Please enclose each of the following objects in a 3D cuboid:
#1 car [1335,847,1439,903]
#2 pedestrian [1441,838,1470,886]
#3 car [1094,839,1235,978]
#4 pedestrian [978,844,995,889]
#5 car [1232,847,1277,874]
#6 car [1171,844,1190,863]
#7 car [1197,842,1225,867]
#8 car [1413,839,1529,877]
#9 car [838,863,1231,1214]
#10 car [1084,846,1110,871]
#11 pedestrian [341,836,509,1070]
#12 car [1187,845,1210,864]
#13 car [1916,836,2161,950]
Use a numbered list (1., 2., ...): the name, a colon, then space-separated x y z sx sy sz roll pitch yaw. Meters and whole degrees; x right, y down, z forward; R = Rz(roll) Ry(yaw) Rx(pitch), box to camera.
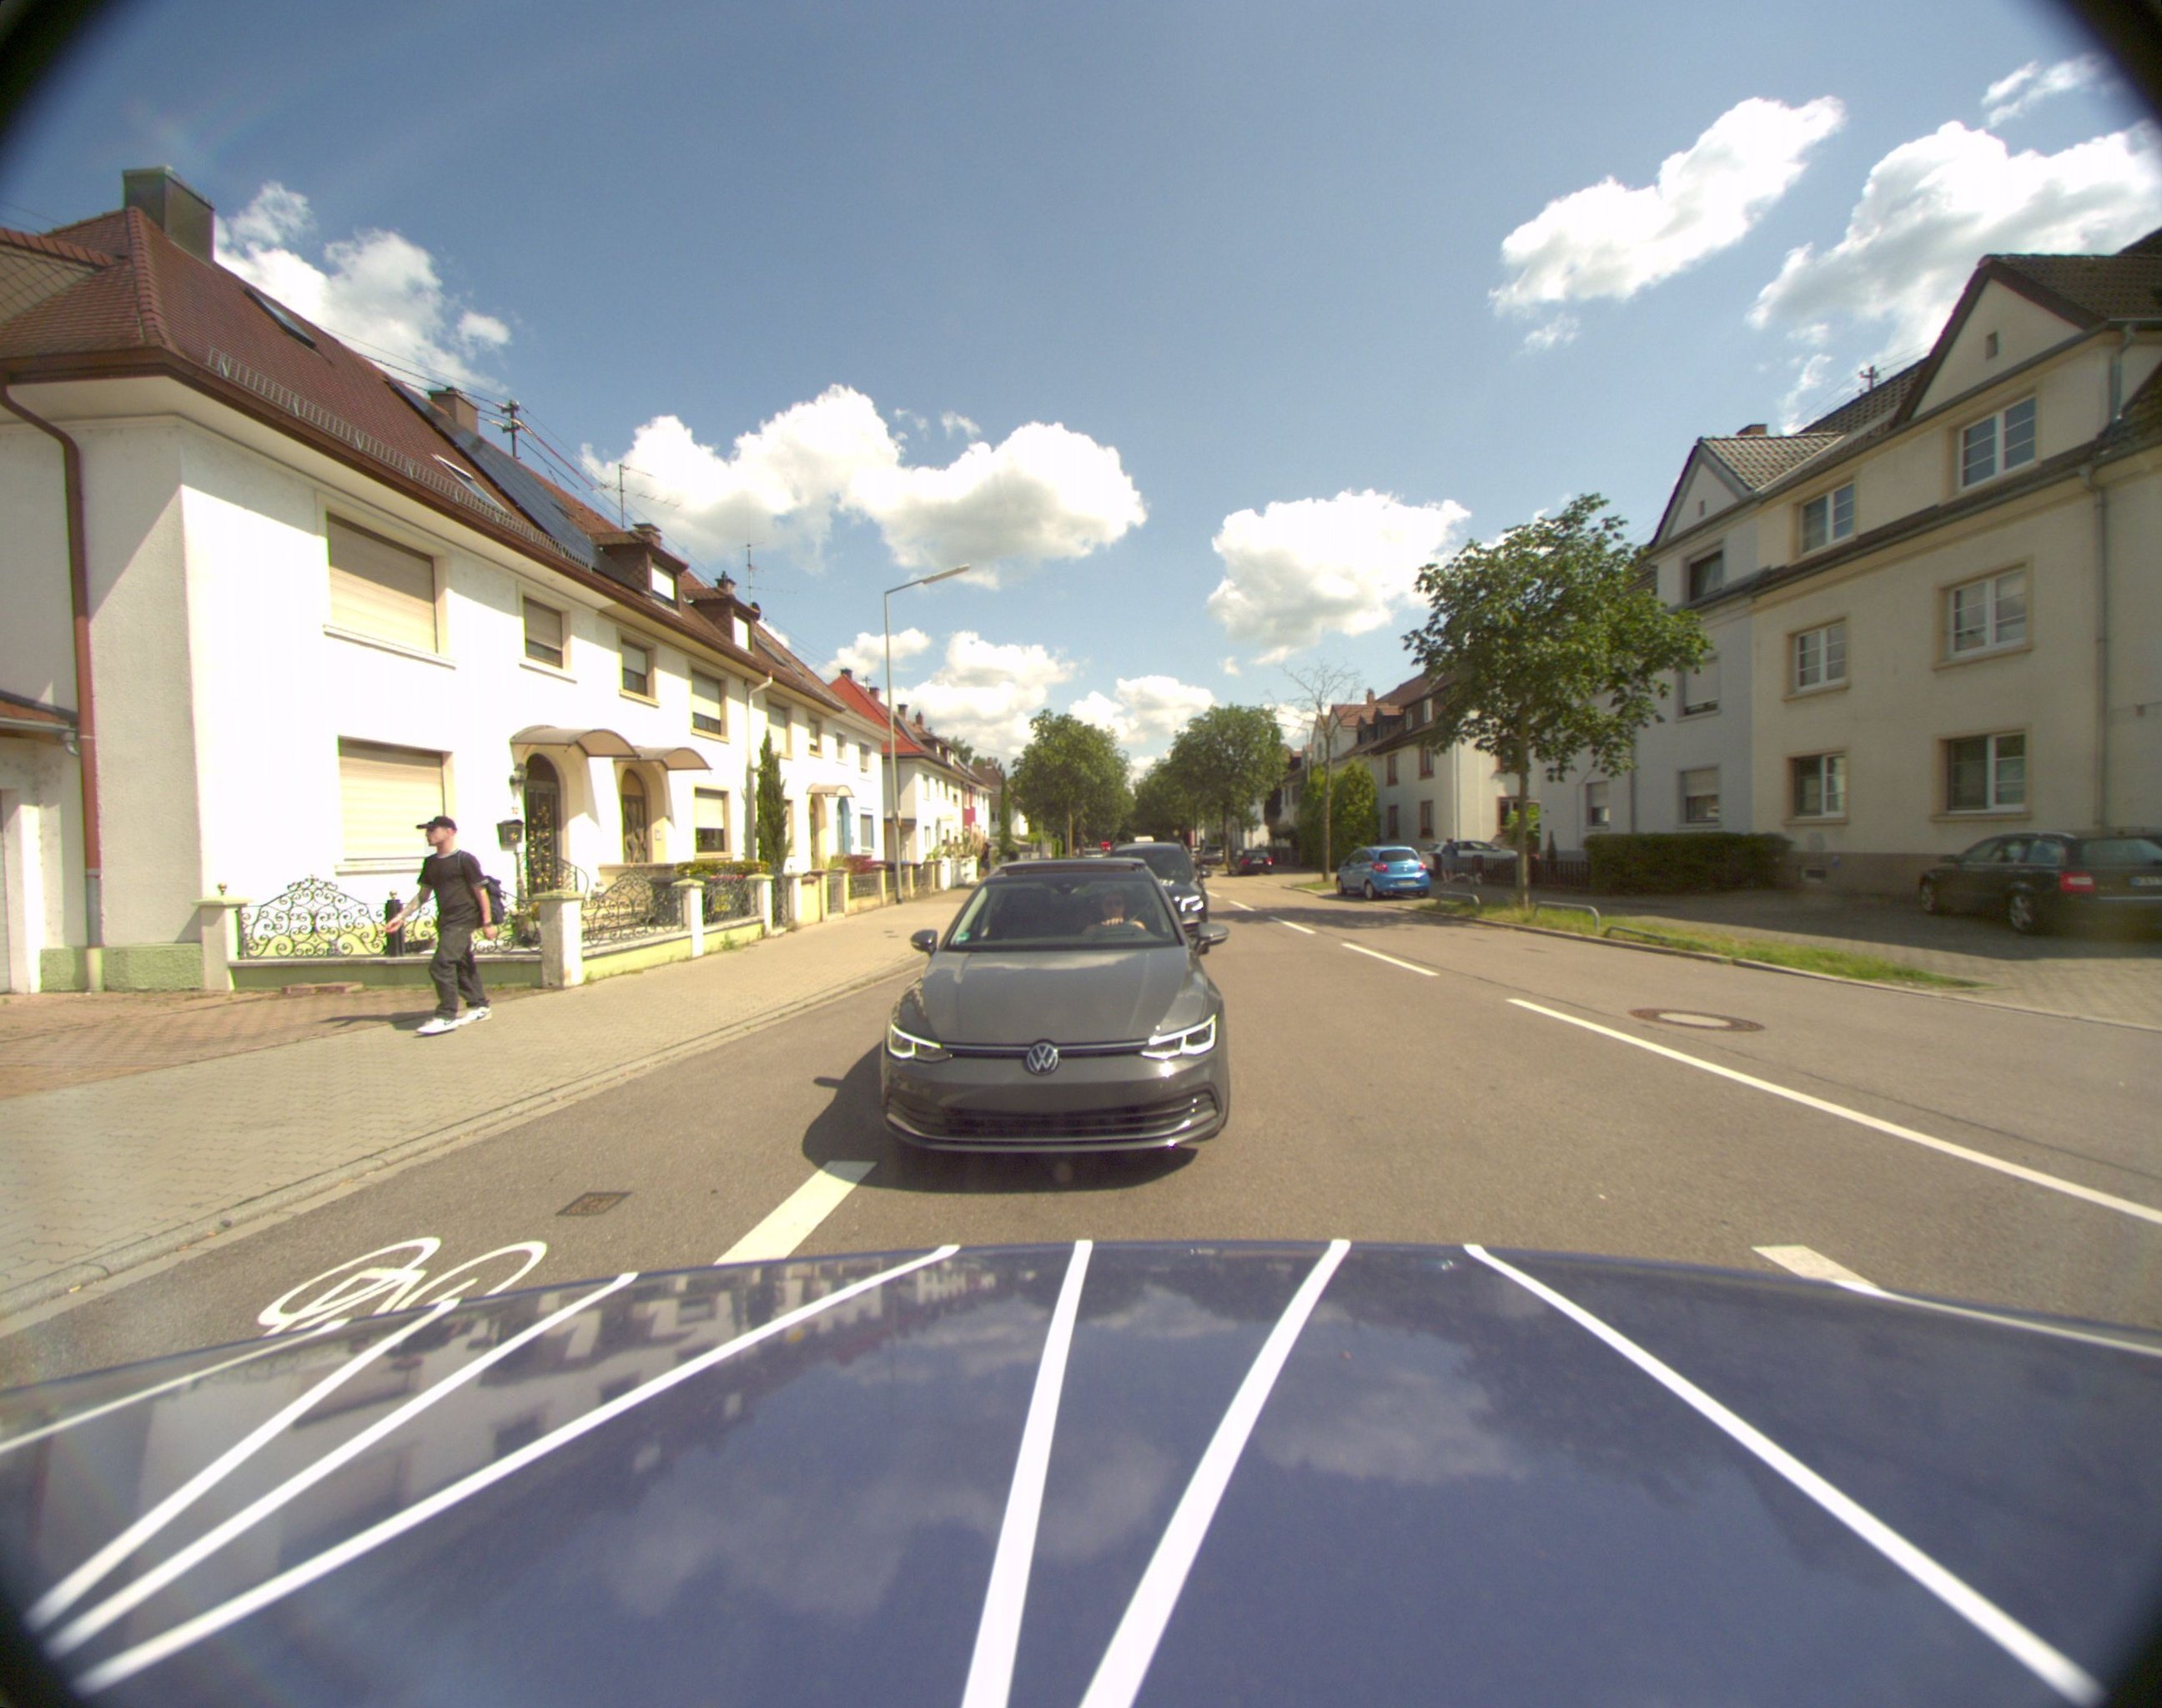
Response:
1. car: 8.637 0.531 21.688 1.709 1.454 3.154 -1 1 1
2. pedestrian: 12.200 0.266 24.785 0.632 1.527 0.618 -1 1 0
3. car: 1.125 0.672 12.147 1.776 1.754 4.874 -1 1 1
4. pedestrian: -3.655 0.485 29.462 0.519 1.701 0.618 -1 1 2
5. car: 8.966 0.299 39.523 1.709 1.289 3.918 -1 1 4
6. car: 8.954 -0.062 68.530 1.562 1.645 3.251 -1 1 4
7. car: 9.133 0.035 53.463 1.562 1.645 3.574 -1 1 4
8. car: 15.647 0.155 30.614 3.805 1.446 1.711 -1 1 4
9. car: -0.241 0.871 5.818 1.766 1.466 4.686 -1 1 -1
10. car: 1.088 0.276 49.995 1.381 1.493 3.002 -2 1 6
11. pedestrian: -5.308 0.741 6.219 0.939 1.758 0.591 -1 1 -34
12. car: 9.142 0.029 59.488 1.623 1.417 3.002 -2 1 6
13. car: 14.253 0.447 11.028 1.757 1.378 4.110 -1 1 31
